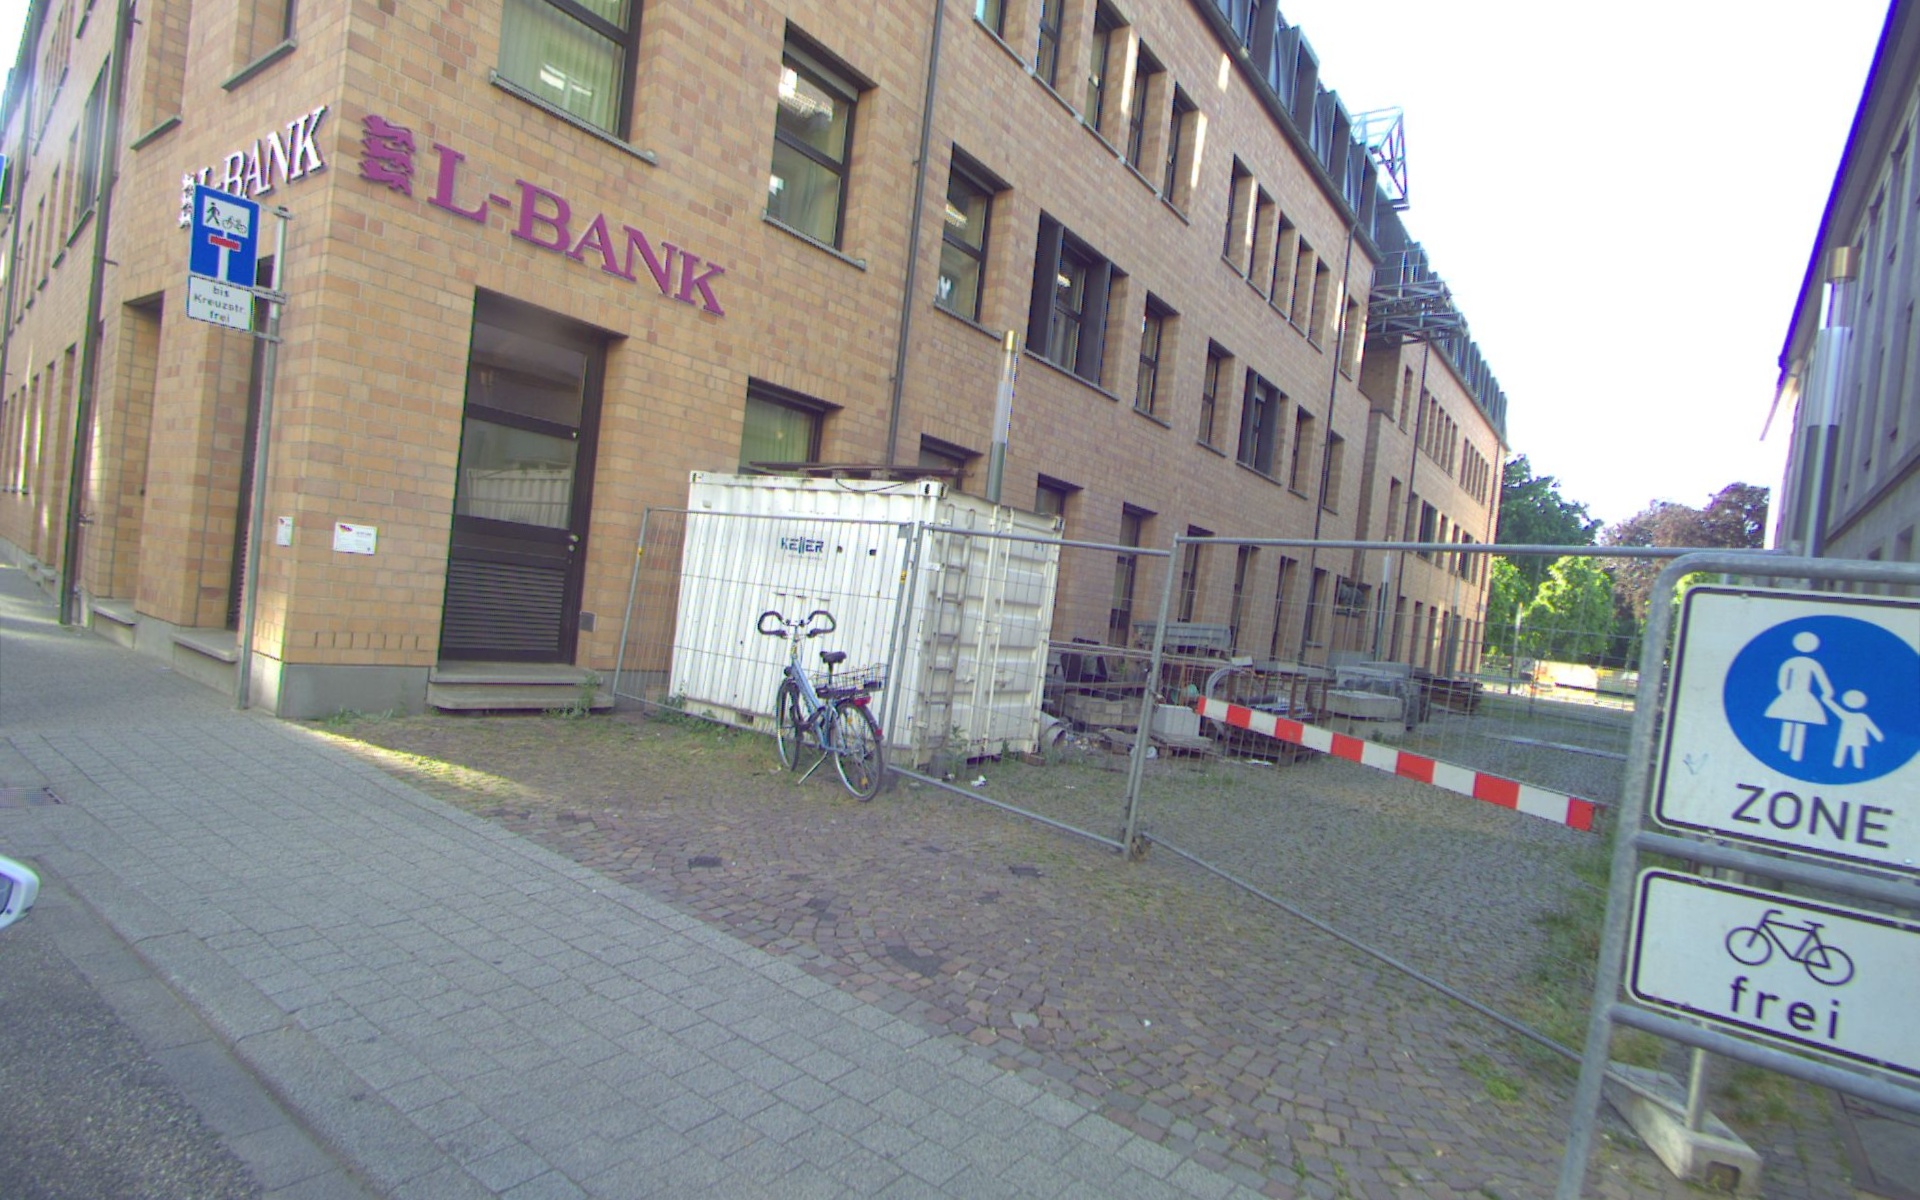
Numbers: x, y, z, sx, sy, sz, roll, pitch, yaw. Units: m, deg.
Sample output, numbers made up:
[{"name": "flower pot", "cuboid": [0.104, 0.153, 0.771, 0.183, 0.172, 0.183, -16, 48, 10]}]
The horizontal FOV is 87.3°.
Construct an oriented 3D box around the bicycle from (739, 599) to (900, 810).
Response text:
[{"name": "bicycle", "cuboid": [-1.049, 0.691, 7.211, 0.317, 1.265, 1.567, 6, 1, -36]}]
